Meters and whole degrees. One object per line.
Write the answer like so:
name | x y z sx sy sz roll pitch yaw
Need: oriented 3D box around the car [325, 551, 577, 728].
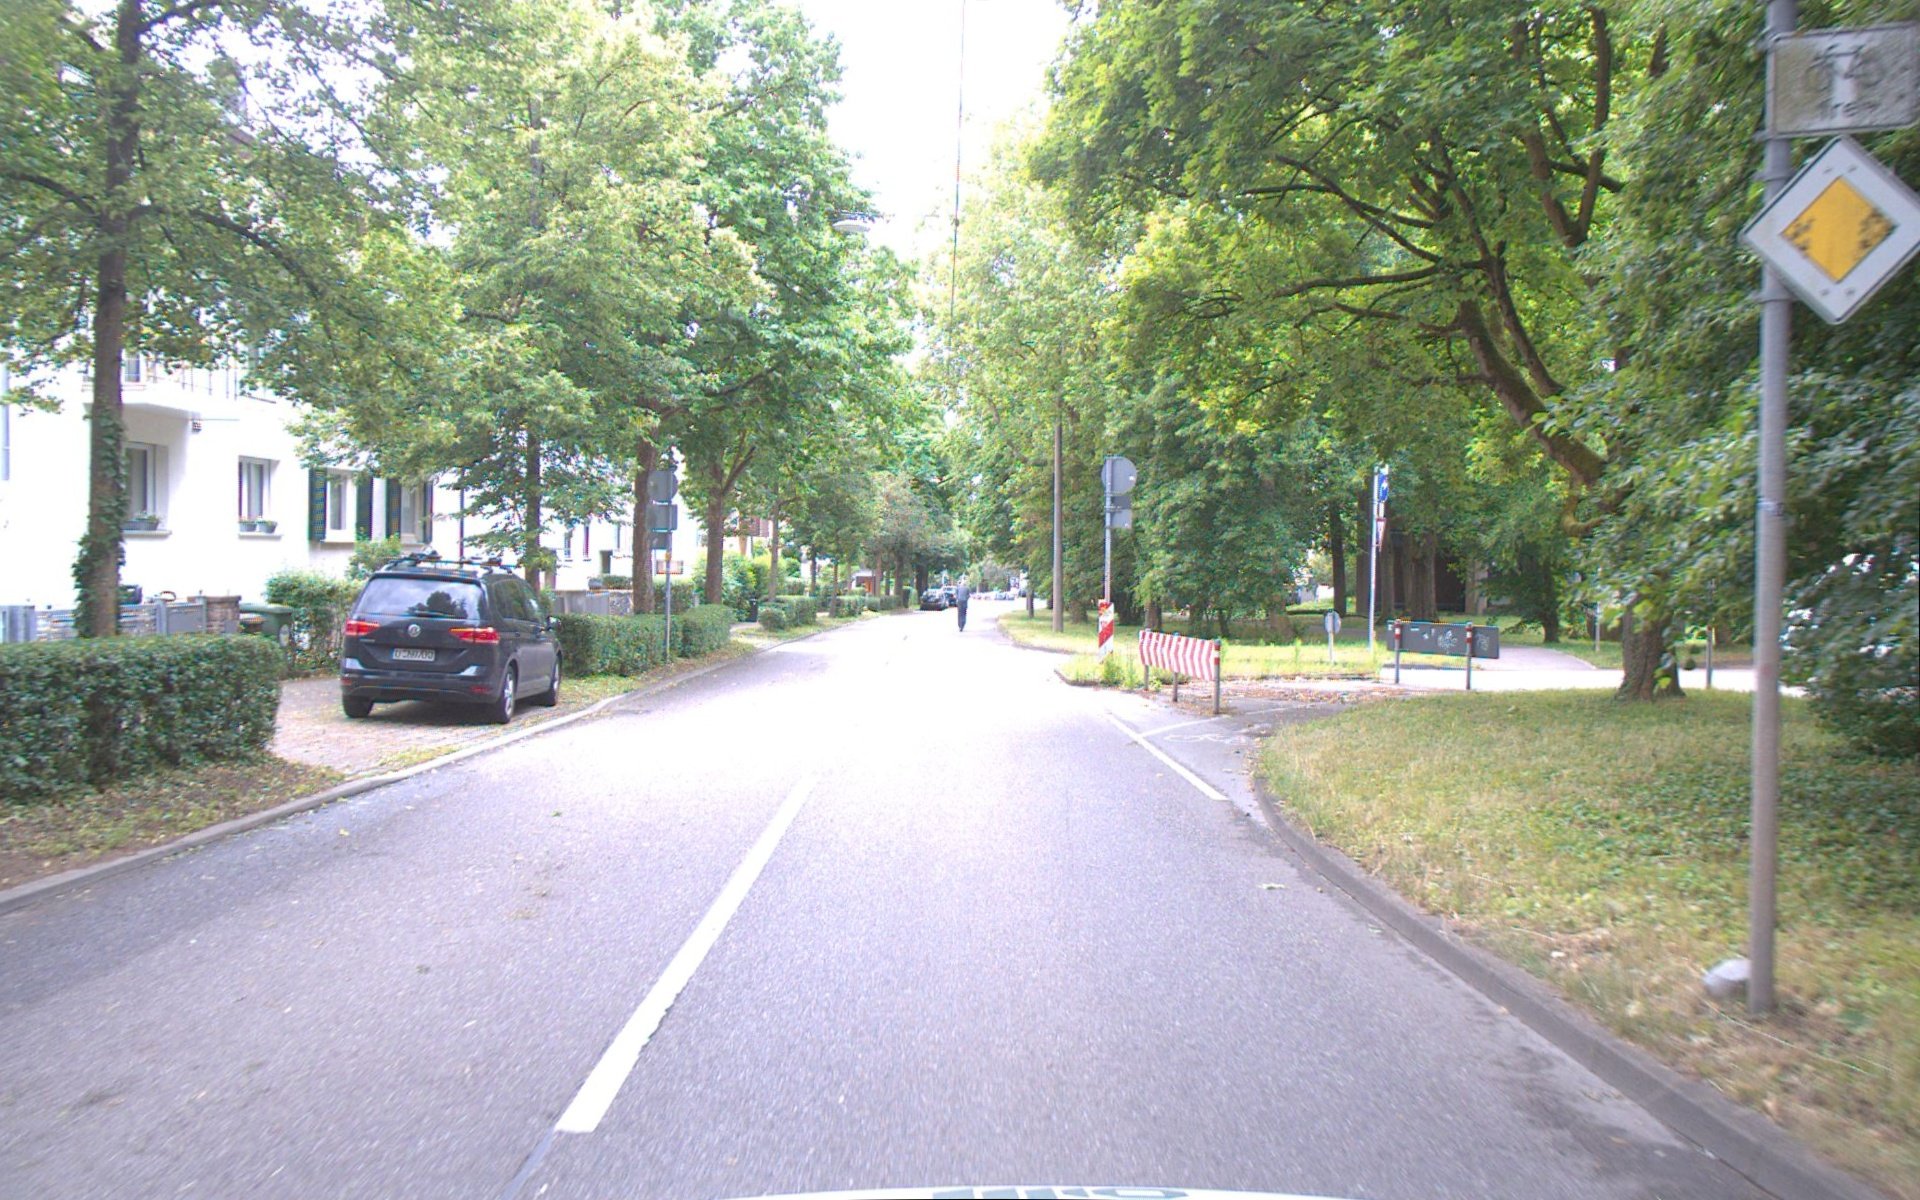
car | -5.754 0.396 19.263 1.789 1.784 4.450 1 0 -4

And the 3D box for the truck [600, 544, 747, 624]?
truck | -11.979 -0.660 69.500 5.678 3.185 2.517 1 0 -1

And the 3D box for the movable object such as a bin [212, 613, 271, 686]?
movable object such as a bin | -9.545 0.650 21.986 0.548 0.957 0.640 0 0 -6

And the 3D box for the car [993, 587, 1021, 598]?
car | 6.779 -1.115 238.976 3.905 1.537 1.800 0 0 0

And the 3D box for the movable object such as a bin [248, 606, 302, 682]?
movable object such as a bin | -9.645 0.612 23.297 0.548 1.043 0.601 0 0 -6

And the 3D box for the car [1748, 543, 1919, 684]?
car | 16.830 0.216 29.944 5.261 2.339 2.266 0 1 -34

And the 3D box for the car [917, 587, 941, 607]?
car | -2.337 -0.240 126.939 1.757 1.498 4.418 0 0 0

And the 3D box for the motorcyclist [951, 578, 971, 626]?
motorcyclist | 0.058 0.087 62.603 0.659 1.792 0.639 2 0 4

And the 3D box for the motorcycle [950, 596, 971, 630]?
motorcycle | 0.032 0.487 62.470 0.658 1.239 1.274 2 0 4

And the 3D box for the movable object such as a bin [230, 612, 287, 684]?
movable object such as a bin | -9.593 0.649 22.643 0.548 0.957 0.640 0 0 -6
